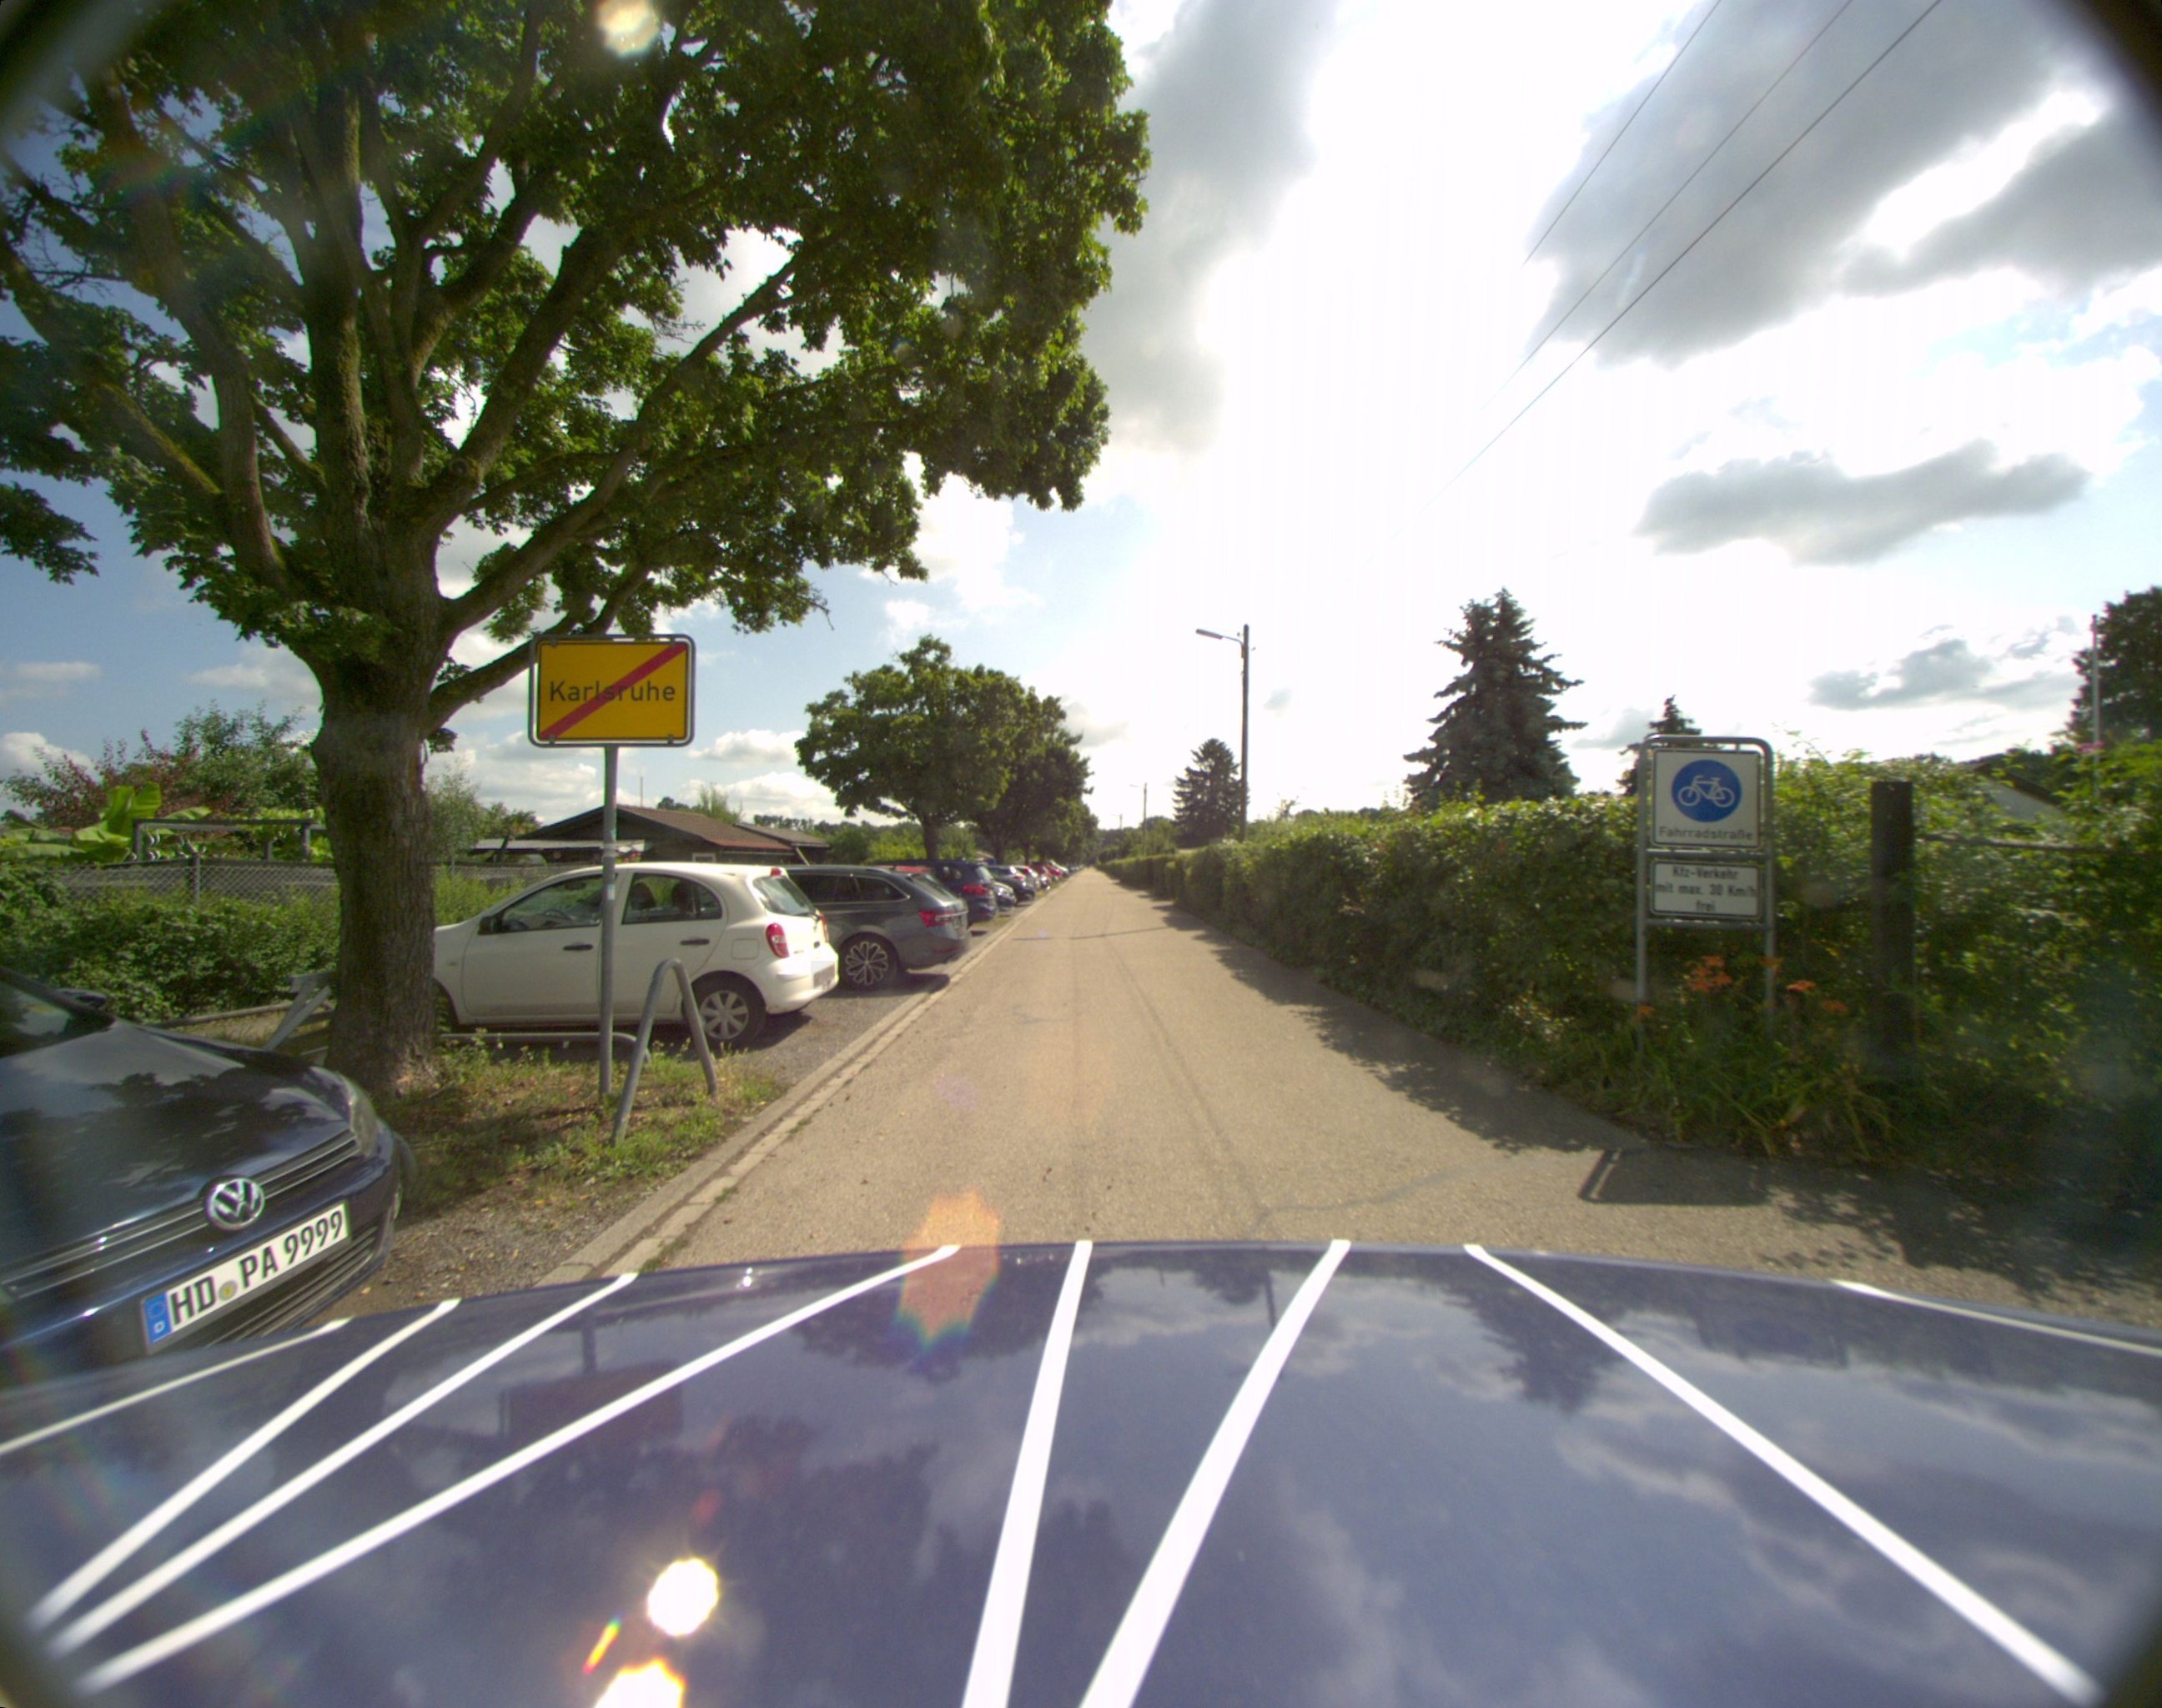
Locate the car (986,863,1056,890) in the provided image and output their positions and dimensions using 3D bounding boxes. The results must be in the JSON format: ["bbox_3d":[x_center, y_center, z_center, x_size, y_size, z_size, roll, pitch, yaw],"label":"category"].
[{"bbox_3d":[-3.663,1.370,46.904,3.996,1.510,1.855,-2,0,4],"label":"car"}]

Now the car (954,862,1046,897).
[{"bbox_3d":[-3.866,1.224,36.737,4.073,1.502,1.958,-2,0,4],"label":"car"}]

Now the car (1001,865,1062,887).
[{"bbox_3d":[-3.557,1.547,54.554,4.250,1.420,1.908,-2,0,-3],"label":"car"}]

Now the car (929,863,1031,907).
[{"bbox_3d":[-3.866,1.177,29.625,3.734,1.531,1.849,-2,0,-2],"label":"car"}]

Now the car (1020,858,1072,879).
[{"bbox_3d":[-3.191,1.297,69.423,4.646,1.875,2.111,0,0,-1],"label":"car"}]

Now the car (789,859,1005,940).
[{"bbox_3d":[-3.841,0.935,16.386,4.164,1.628,1.879,0,0,2],"label":"car"}]

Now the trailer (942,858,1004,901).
[{"bbox_3d":[-4.588,1.100,32.515,2.456,1.710,1.518,-2,-1,-3],"label":"trailer"}]

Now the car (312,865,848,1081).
[{"bbox_3d":[-4.133,0.930,6.762,3.583,1.540,1.666,-2,0,-2],"label":"car"}]

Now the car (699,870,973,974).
[{"bbox_3d":[-3.791,1.040,12.238,3.819,1.523,1.762,0,0,1],"label":"car"}]

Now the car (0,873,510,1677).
[{"bbox_3d":[-4.121,0.905,1.869,3.943,1.550,1.868,-2,0,-1],"label":"car"}]

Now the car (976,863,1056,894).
[{"bbox_3d":[-3.404,1.288,40.201,4.076,1.447,1.869,-2,0,-2],"label":"car"}]

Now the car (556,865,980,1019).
[{"bbox_3d":[-3.668,1.012,9.610,4.561,1.569,1.808,-2,0,-3],"label":"car"}]

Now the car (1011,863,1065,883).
[{"bbox_3d":[-3.494,1.536,61.776,4.193,1.495,1.878,-2,0,2],"label":"car"}]

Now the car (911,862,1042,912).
[{"bbox_3d":[-3.638,1.142,26.977,4.313,1.584,2.000,-2,0,0],"label":"car"}]

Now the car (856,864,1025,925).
[{"bbox_3d":[-3.865,1.100,21.474,4.346,1.483,1.975,-2,0,0],"label":"car"}]
